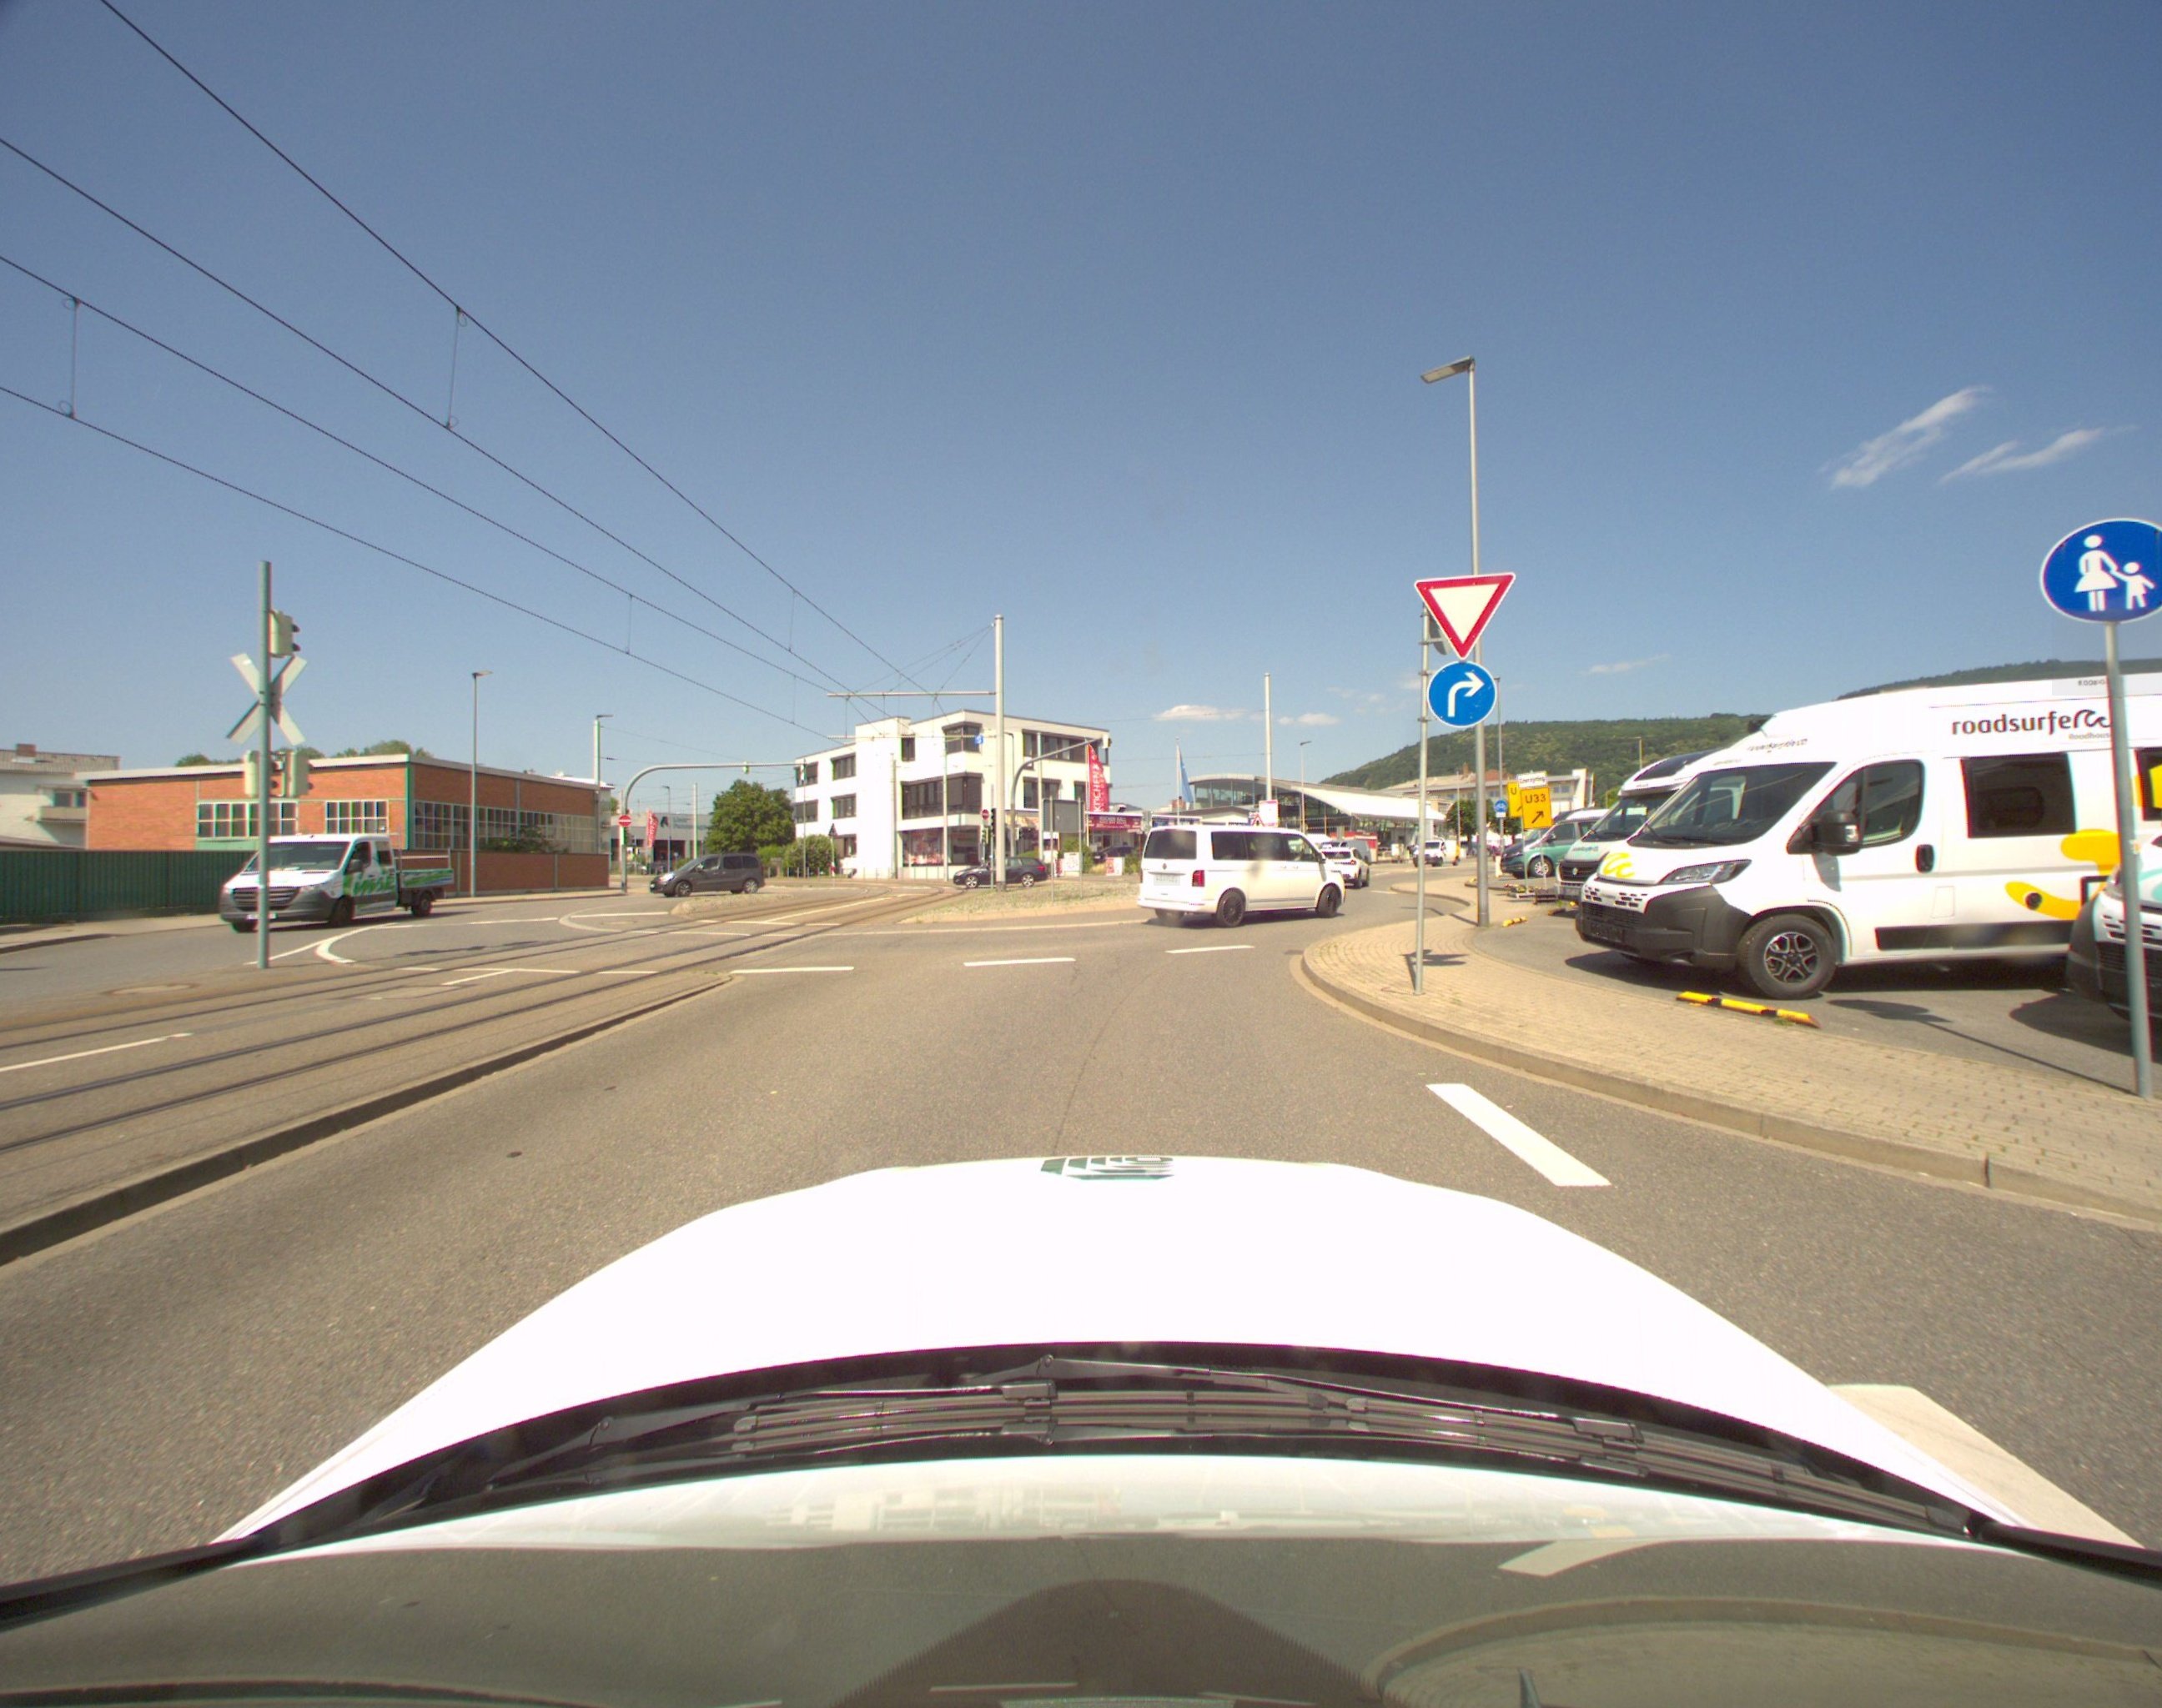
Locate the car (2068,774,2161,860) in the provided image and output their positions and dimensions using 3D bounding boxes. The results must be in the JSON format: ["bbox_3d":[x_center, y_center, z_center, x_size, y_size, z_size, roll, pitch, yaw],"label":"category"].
[{"bbox_3d":[27.887,-0.913,19.512,5.424,2.013,2.141,-1,0,6],"label":"car"}]

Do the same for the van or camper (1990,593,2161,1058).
[{"bbox_3d":[9.268,-0.204,4.686,5.480,2.814,2.051,-1,2,5],"label":"van or camper"}]

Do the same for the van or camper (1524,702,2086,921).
[{"bbox_3d":[11.538,-0.625,13.453,7.036,2.946,2.335,-3,-1,1],"label":"van or camper"}]

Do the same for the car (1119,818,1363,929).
[{"bbox_3d":[3.461,0.335,17.143,5.039,2.013,2.146,-1,0,-35],"label":"car"}]

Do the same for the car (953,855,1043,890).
[{"bbox_3d":[-3.996,0.863,39.629,4.223,1.556,1.965,-1,0,-6],"label":"car"}]

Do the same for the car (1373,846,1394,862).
[{"bbox_3d":[31.398,-0.002,84.422,1.729,1.585,3.682,-1,0,25],"label":"car"}]

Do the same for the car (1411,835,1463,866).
[{"bbox_3d":[26.195,-0.274,59.853,2.002,2.114,4.965,-1,1,41],"label":"car"}]

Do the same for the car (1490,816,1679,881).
[{"bbox_3d":[17.425,-0.176,28.433,5.182,2.113,2.101,-1,0,7],"label":"car"}]

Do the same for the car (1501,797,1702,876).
[{"bbox_3d":[19.995,-0.629,31.575,6.101,2.717,2.313,-2,0,9],"label":"car"}]

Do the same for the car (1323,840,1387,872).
[{"bbox_3d":[17.635,0.093,52.295,1.909,1.935,4.857,-1,0,45],"label":"car"}]

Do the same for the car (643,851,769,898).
[{"bbox_3d":[-15.725,0.819,34.296,4.433,1.818,1.966,-1,0,-42],"label":"car"}]

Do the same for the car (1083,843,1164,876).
[{"bbox_3d":[2.734,0.308,51.364,5.309,1.965,1.942,-1,0,-42],"label":"car"}]

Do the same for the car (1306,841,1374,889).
[{"bbox_3d":[10.444,0.406,32.630,1.975,1.733,4.591,-2,0,25],"label":"car"}]

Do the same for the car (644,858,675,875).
[{"bbox_3d":[-49.679,1.440,95.939,3.949,1.783,2.012,-4,-1,44],"label":"car"}]

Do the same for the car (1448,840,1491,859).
[{"bbox_3d":[42.790,-0.472,89.711,4.240,2.013,2.012,-1,0,26],"label":"car"}]

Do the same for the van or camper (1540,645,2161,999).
[{"bbox_3d":[7.873,-0.287,7.696,5.785,2.773,2.093,-2,1,3],"label":"van or camper"}]

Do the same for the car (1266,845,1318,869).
[{"bbox_3d":[15.754,0.193,60.711,1.975,1.618,4.024,-2,0,44],"label":"car"}]

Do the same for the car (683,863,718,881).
[{"bbox_3d":[-39.877,1.906,85.327,3.949,1.662,2.012,-4,-1,43],"label":"car"}]

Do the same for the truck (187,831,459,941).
[{"bbox_3d":[-18.843,0.689,20.846,2.205,2.337,6.359,-1,0,-14],"label":"truck"}]
